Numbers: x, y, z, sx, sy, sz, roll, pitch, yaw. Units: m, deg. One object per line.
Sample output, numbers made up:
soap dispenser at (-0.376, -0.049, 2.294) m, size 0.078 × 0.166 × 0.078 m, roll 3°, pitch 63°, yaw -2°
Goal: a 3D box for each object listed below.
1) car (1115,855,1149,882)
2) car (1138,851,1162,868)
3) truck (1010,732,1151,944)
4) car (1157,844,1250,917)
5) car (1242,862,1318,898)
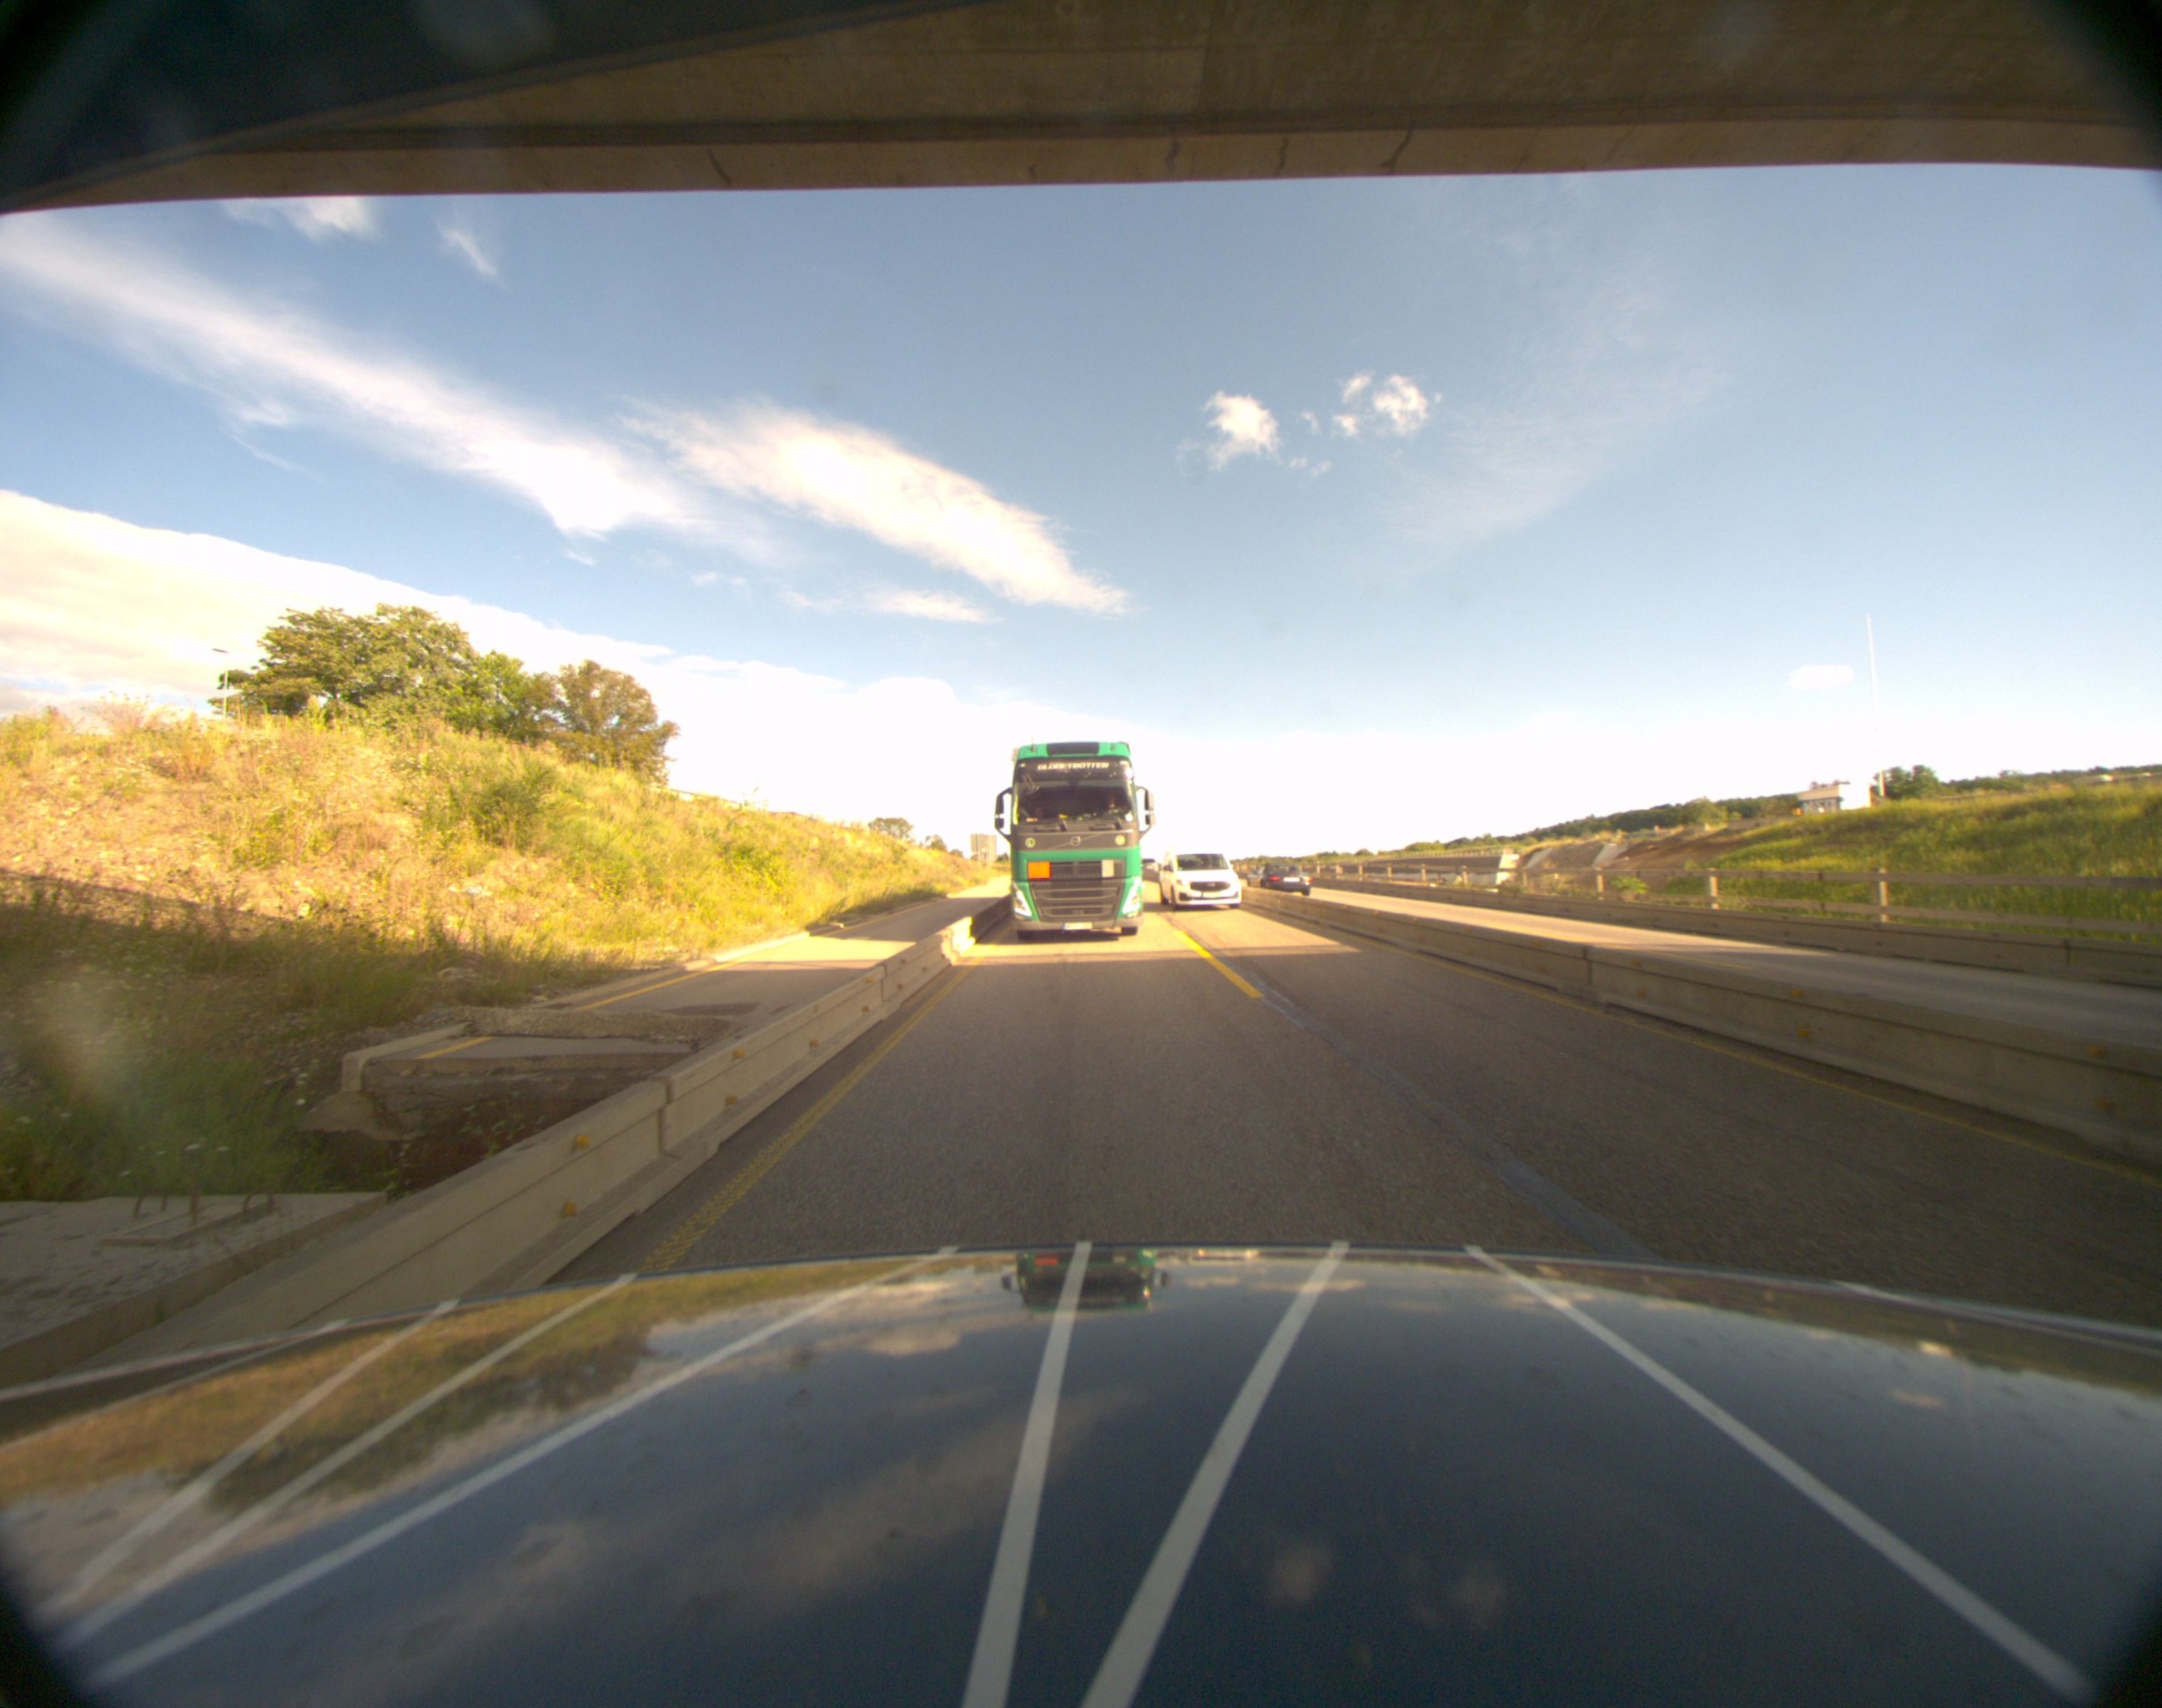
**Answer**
car at (3.009, 0.835, 45.916) m, size 1.719 × 1.499 × 3.999 m, roll -2°, pitch 0°, yaw 0°
car at (6.502, 0.510, 72.248) m, size 1.828 × 1.554 × 4.218 m, roll 1°, pitch 0°, yaw 0°
truck at (-0.064, -0.314, 18.349) m, size 2.546 × 3.899 × 8.278 m, roll -2°, pitch 0°, yaw -1°
car at (3.425, 0.692, 22.041) m, size 1.828 × 1.813 × 4.456 m, roll -3°, pitch 0°, yaw -1°
car at (7.103, 0.887, 27.546) m, size 1.672 × 1.149 × 4.218 m, roll 1°, pitch 0°, yaw 1°
